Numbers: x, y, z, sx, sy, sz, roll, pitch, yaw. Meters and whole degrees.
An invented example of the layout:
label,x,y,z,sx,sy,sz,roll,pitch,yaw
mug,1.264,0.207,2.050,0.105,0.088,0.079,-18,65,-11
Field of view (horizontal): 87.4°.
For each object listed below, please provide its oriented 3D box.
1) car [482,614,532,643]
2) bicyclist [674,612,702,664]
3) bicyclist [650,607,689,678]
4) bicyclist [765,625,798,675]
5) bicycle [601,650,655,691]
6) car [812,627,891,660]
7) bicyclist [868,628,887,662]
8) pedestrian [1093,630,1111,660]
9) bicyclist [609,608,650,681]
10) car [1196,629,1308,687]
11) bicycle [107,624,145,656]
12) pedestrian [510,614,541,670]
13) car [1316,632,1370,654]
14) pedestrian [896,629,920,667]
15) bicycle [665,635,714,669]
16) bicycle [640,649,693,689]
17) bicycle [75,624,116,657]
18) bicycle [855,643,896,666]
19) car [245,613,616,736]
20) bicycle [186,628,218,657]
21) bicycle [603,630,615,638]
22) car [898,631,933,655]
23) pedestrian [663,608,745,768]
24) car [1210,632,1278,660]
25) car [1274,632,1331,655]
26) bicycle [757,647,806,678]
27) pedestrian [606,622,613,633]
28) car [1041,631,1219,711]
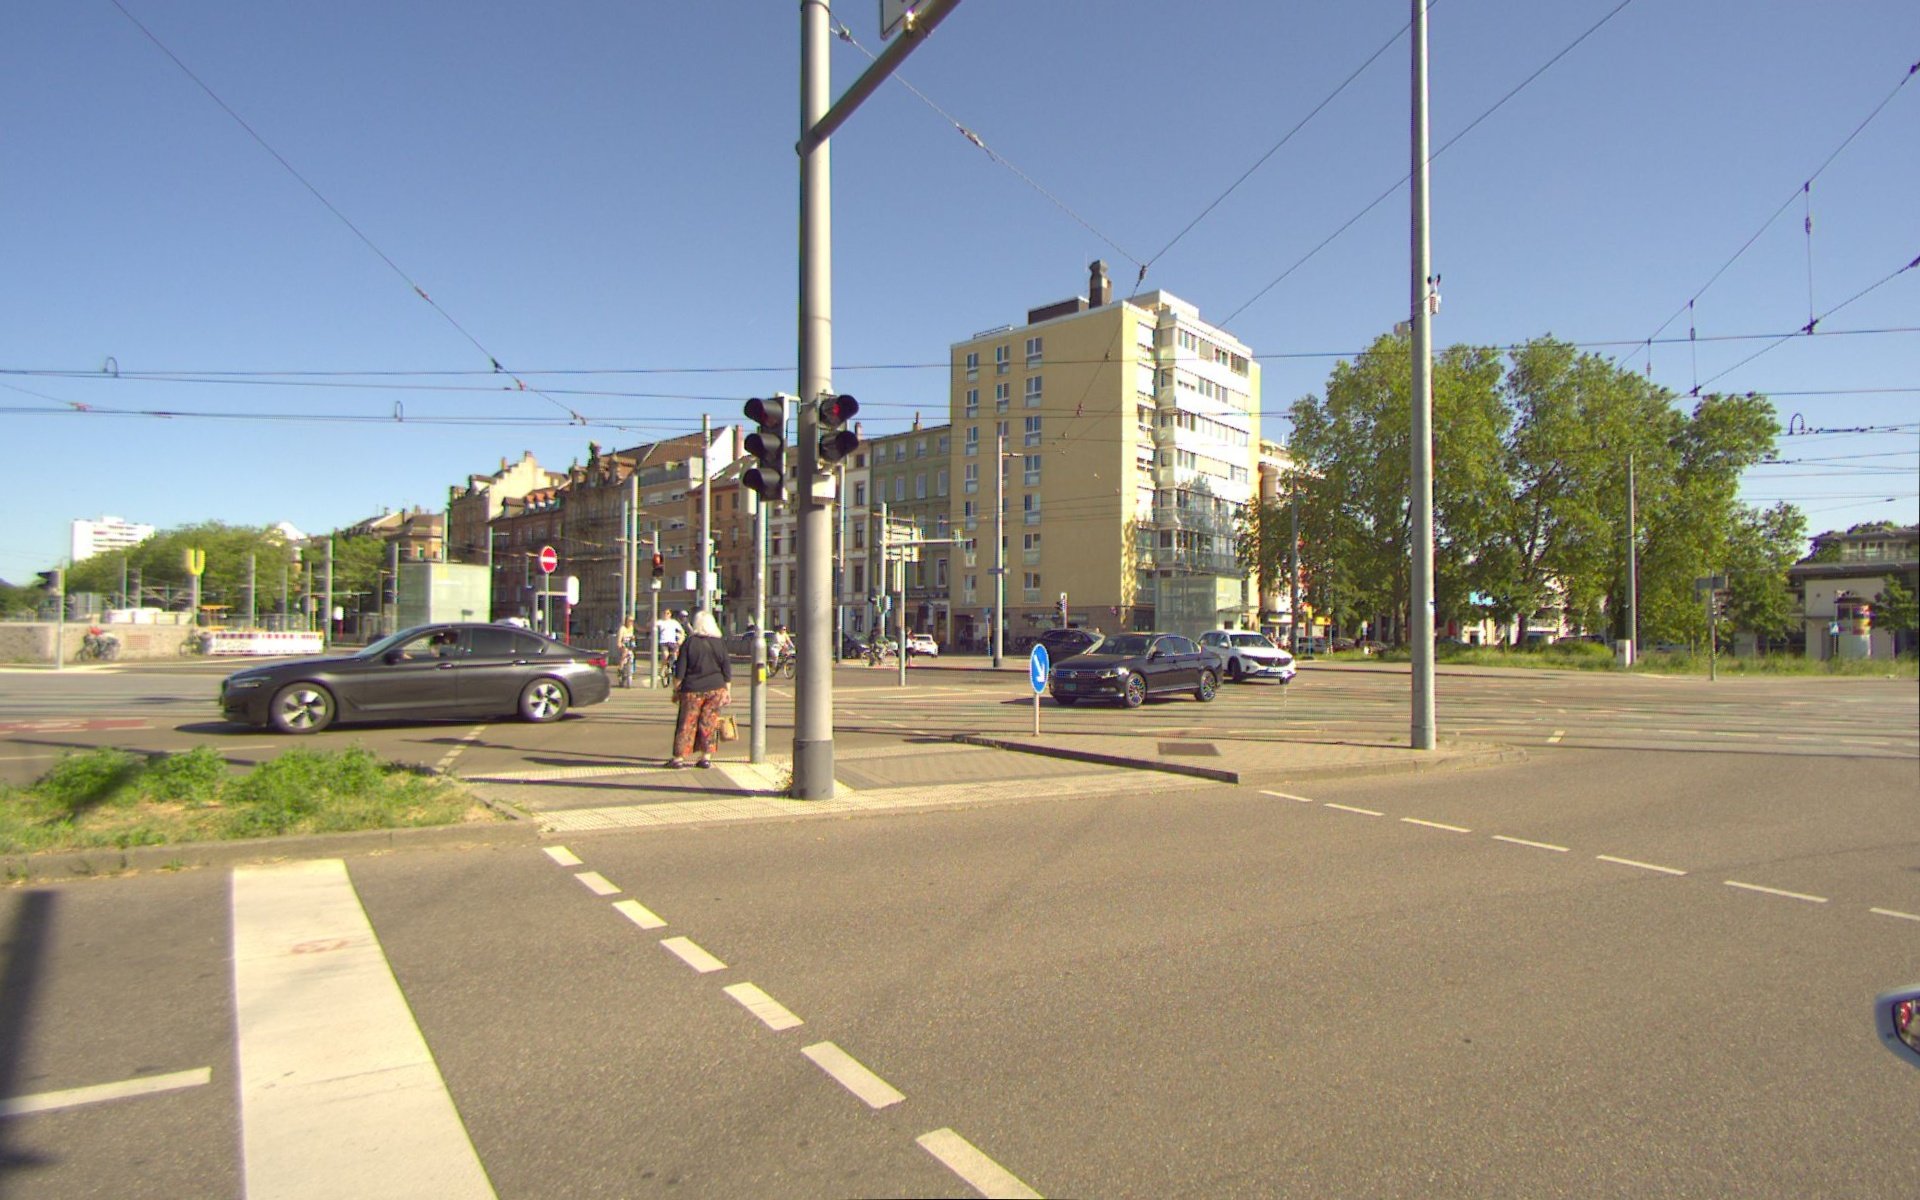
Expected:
label,x,y,z,sx,sy,sz,roll,pitch,yaw
car,-43.705,2.753,96.873,5.837,2.780,2.133,-1,-2,41
bicyclist,-9.213,1.284,34.000,0.609,1.735,0.675,-1,-2,41
bicyclist,-7.040,1.033,24.350,0.672,1.676,0.777,2,-2,-35
bicyclist,-5.442,1.517,30.580,0.673,1.474,0.776,2,-2,-39
bicycle,-7.817,1.632,23.615,0.672,0.890,1.880,2,-2,-35
car,-5.871,2.300,53.982,4.246,1.675,1.849,-1,-2,42
bicyclist,-3.592,1.961,43.844,0.609,1.462,0.614,2,-2,-30
pedestrian,7.569,2.404,53.407,0.754,1.581,0.614,0,-2,33
bicyclist,-7.751,1.045,23.532,0.672,1.676,0.777,2,-2,-37
car,9.017,1.760,31.400,1.824,1.675,4.304,1,-2,-7
bicycle,-31.475,1.493,37.939,0.461,1.189,1.252,1,-2,-7
pedestrian,-13.613,1.311,31.450,0.672,1.735,0.793,2,-2,-38
car,30.487,3.437,80.002,3.690,1.684,1.586,-1,-2,42
pedestrian,-2.215,2.038,42.762,0.669,1.593,0.740,2,-2,-45
bicycle,-9.185,1.756,34.058,1.871,1.120,0.675,-1,-2,41
bicycle,-7.166,1.659,24.487,0.672,0.890,1.880,2,-2,-35
bicycle,-31.371,1.471,36.473,0.461,1.189,1.252,1,-2,-7
bicycle,-3.684,2.366,43.775,1.666,0.958,0.613,2,-2,-30
car,-7.548,1.005,14.528,4.525,1.520,1.846,2,-2,-36
bicycle,-31.736,1.767,42.083,0.461,1.189,1.252,1,-2,-7
bicycle,-36.110,3.497,103.289,1.611,0.727,0.421,-1,-2,43
car,-2.900,2.741,64.554,1.745,1.446,3.873,1,-2,-10
pedestrian,-2.596,0.879,10.191,0.750,1.575,0.356,1,-2,-21
car,17.388,2.800,61.522,3.690,1.684,1.586,-1,-2,42
car,25.566,3.217,75.018,3.690,1.684,1.586,-1,-2,42
bicycle,-5.448,1.893,30.571,0.672,0.890,1.878,2,-2,-38
pedestrian,-36.043,2.814,103.256,0.739,1.142,0.421,-1,-2,43
car,3.560,1.385,20.501,1.702,1.457,4.156,-1,-2,41
